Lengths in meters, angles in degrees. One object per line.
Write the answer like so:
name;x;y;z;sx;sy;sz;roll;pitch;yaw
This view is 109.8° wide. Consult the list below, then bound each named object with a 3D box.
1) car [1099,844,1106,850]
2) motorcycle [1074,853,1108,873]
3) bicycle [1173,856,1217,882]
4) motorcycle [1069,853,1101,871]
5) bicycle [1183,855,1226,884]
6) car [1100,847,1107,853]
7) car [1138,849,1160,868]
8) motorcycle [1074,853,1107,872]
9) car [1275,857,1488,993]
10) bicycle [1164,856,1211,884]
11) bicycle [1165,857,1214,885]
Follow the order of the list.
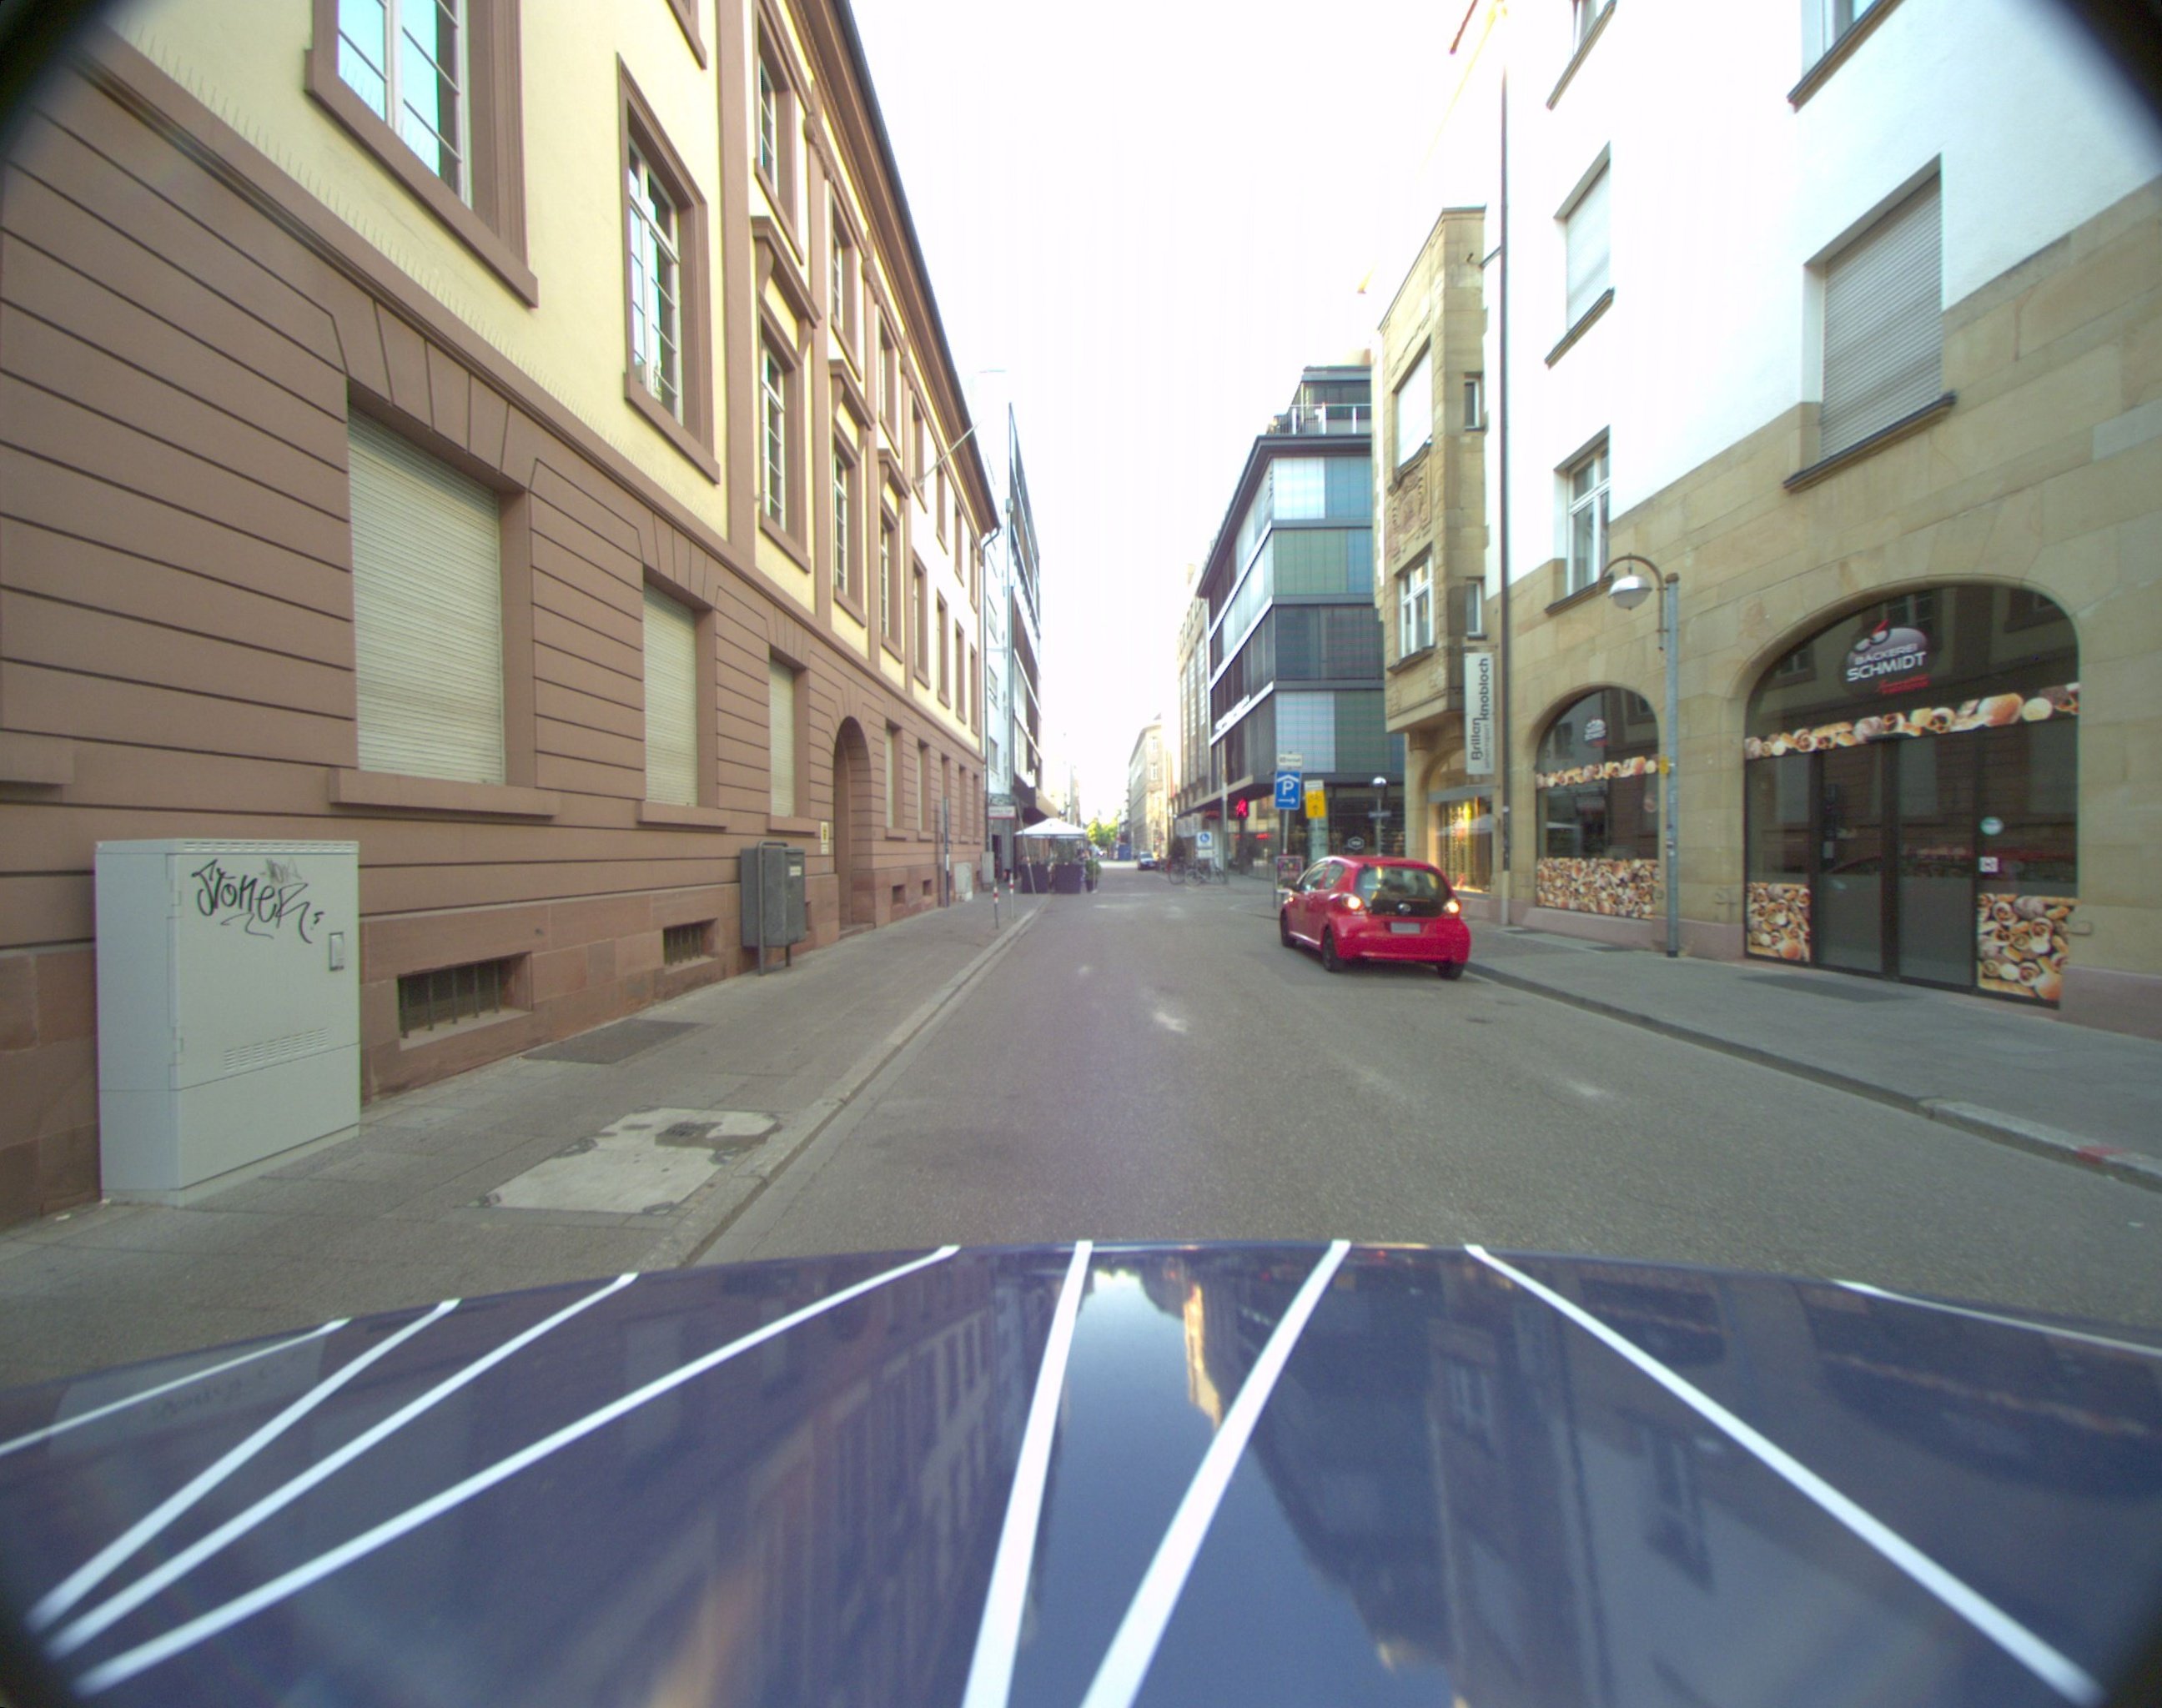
car;5.025;-1.609;177.508;1.426;1.259;3.562;-1;1;-1
motorcycle;0.663;0.579;50.427;2.192;1.275;0.651;1;1;3
bicycle;5.214;0.671;34.866;1.952;1.124;0.526;-1;1;2
motorcycle;0.283;0.559;53.123;2.192;1.275;0.651;1;1;3
bicycle;4.970;0.635;30.669;1.607;1.112;0.620;-1;1;2
car;4.786;-0.858;159.531;1.426;1.090;3.563;-1;1;1
car;5.251;0.340;59.084;1.426;1.409;3.895;-1;1;1
motorcycle;0.639;0.569;51.392;2.192;1.275;0.651;1;1;3
car;3.826;0.819;10.252;1.637;1.433;3.157;3;1;2
bicycle;4.629;0.690;33.076;1.952;1.124;0.620;-1;1;2
bicycle;4.590;0.703;32.169;1.952;1.124;0.620;-1;1;2
